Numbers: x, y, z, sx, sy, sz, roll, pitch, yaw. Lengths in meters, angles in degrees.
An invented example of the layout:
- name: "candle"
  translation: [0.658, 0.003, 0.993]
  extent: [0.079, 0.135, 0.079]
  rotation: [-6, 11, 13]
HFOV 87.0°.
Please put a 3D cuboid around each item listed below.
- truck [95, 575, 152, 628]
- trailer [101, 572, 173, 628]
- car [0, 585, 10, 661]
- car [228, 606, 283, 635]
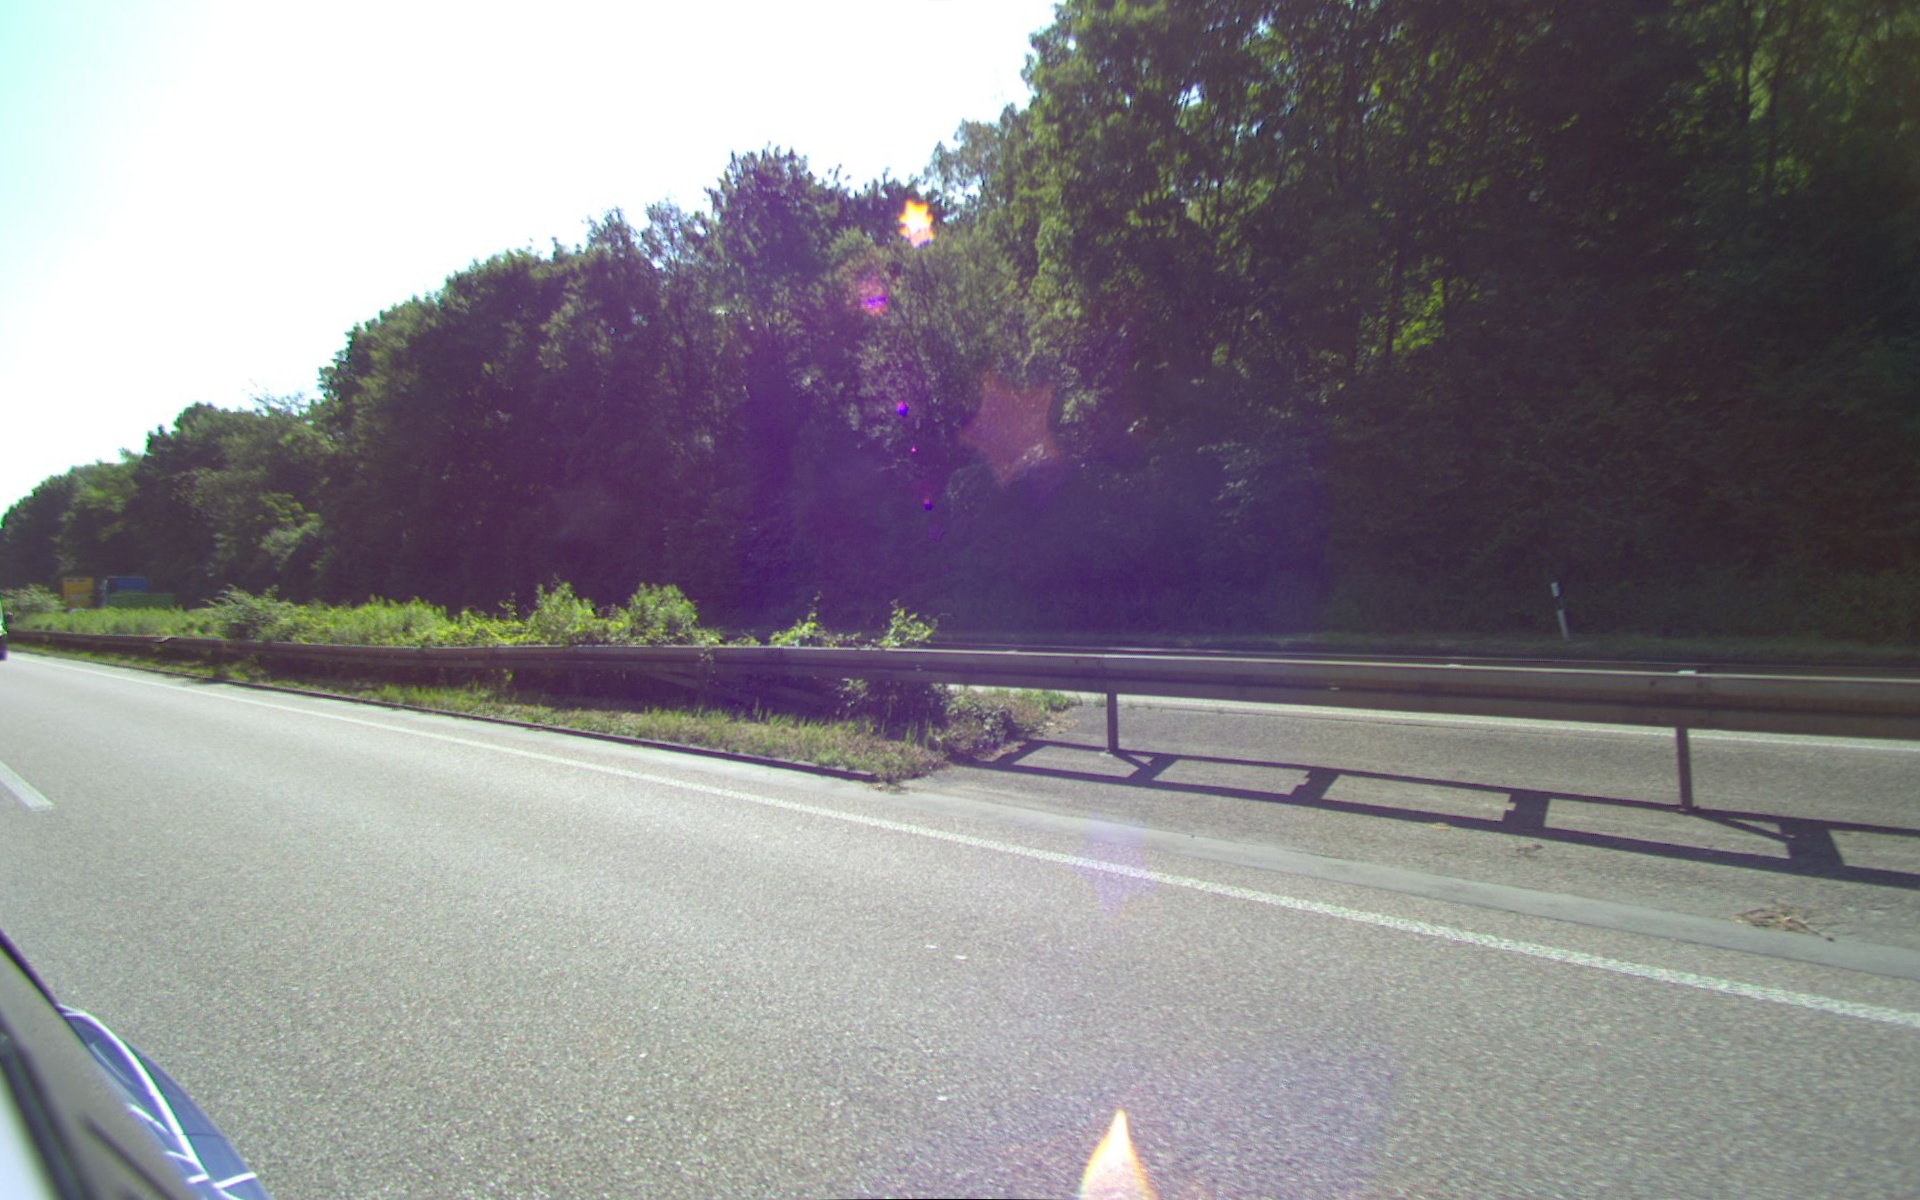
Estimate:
- name: "truck"
  translation: [-61.021, 0.103, 73.806]
  extent: [3.998, 3.734, 2.618]
  rotation: [-1, 0, 41]
- name: "trailer"
  translation: [-57.577, 0.012, 70.755]
  extent: [7.982, 3.740, 2.660]
  rotation: [-1, 0, 42]
- name: "car"
  translation: [-33.420, 0.783, 33.794]
  extent: [4.635, 2.462, 2.020]
  rotation: [-1, 0, 41]
- name: "car"
  translation: [-37.531, 1.068, 53.875]
  extent: [3.623, 1.484, 1.654]
  rotation: [-1, 0, 43]
